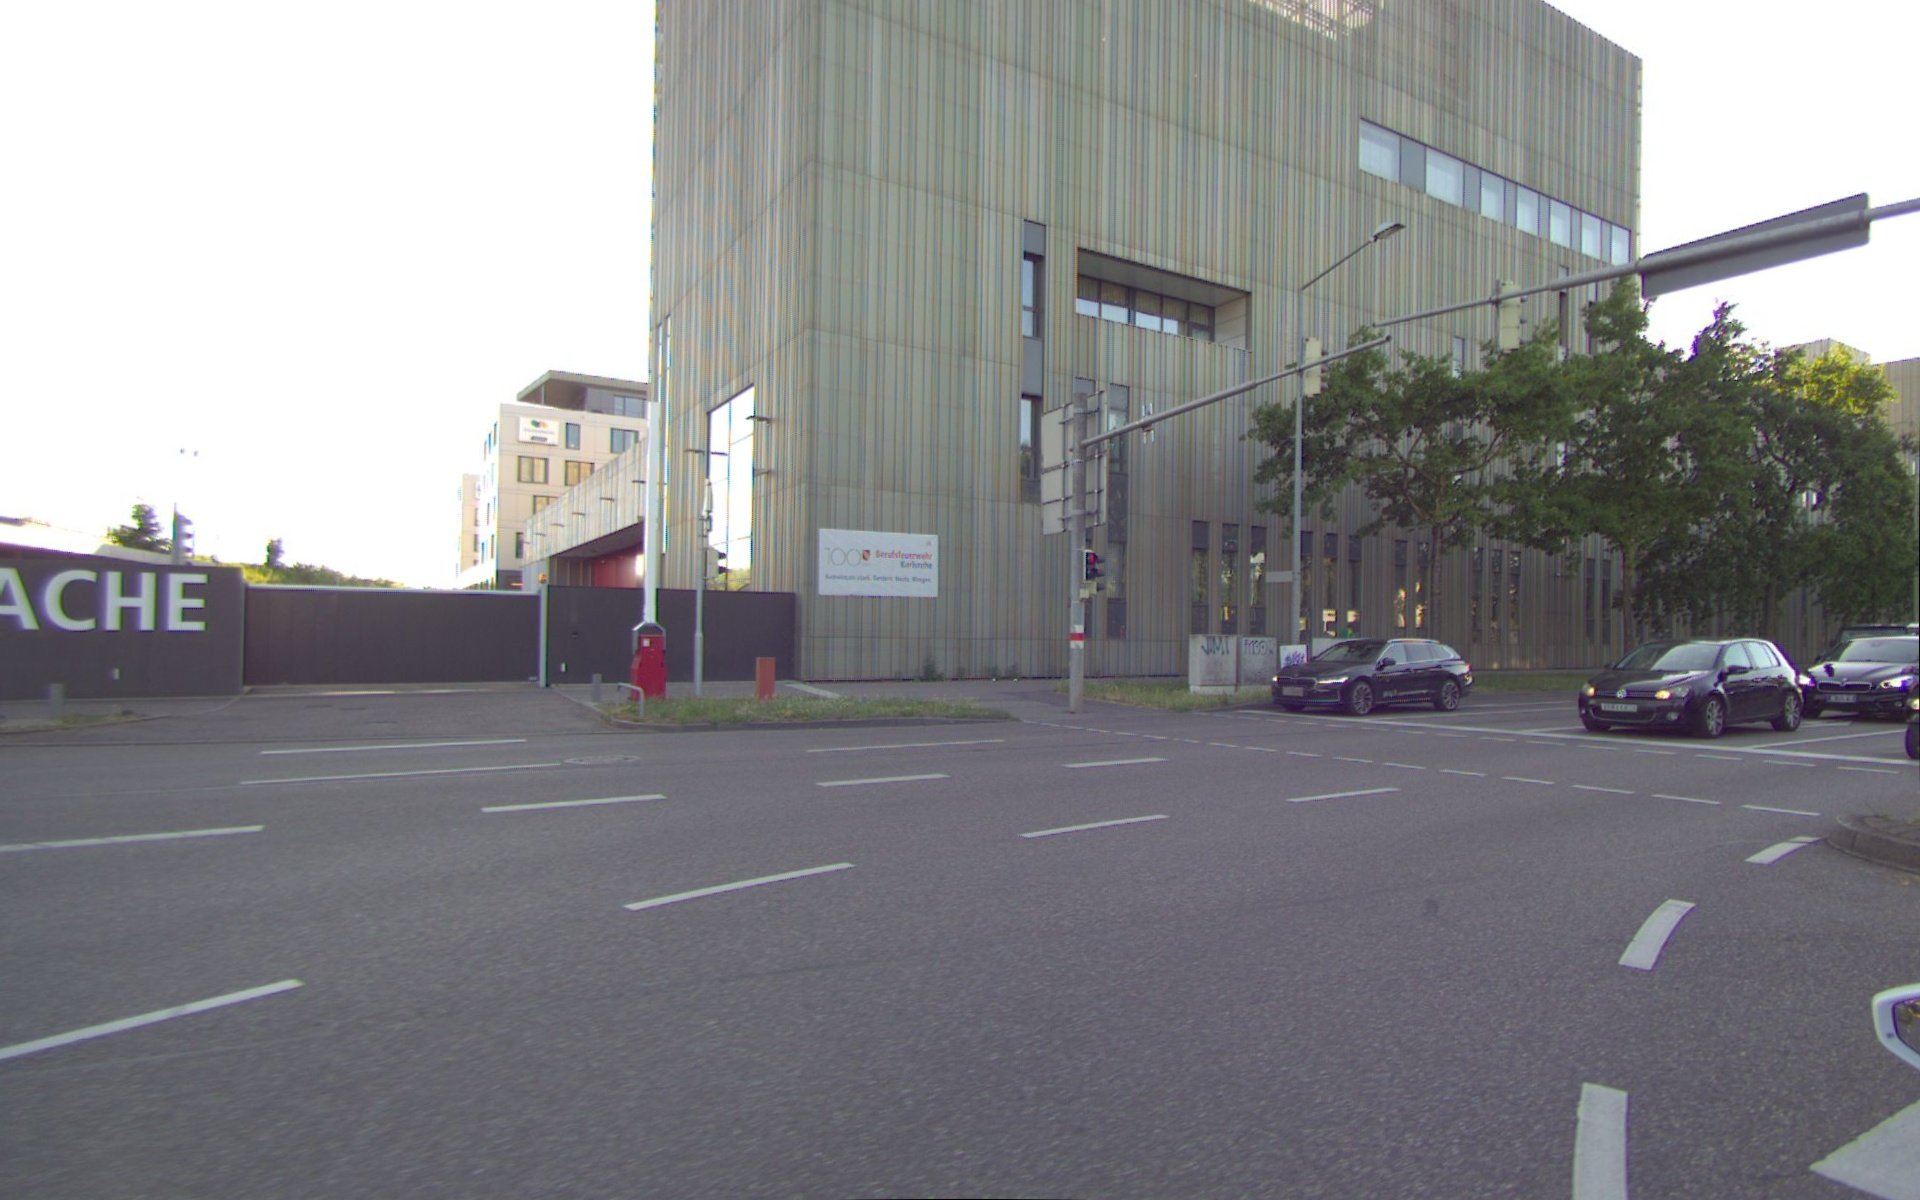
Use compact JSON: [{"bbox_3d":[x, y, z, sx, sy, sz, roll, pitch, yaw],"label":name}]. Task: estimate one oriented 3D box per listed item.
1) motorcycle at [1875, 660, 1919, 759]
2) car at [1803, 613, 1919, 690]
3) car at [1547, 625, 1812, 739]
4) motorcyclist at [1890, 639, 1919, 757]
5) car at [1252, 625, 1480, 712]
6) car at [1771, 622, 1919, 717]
[{"bbox_3d":[11.802,1.275,12.011,2.379,1.090,0.834,2,-3,-37],"label":"motorcycle"},{"bbox_3d":[25.256,1.420,27.766,3.949,2.004,1.785,1,-4,-32],"label":"car"},{"bbox_3d":[11.417,1.243,15.893,4.035,1.495,1.983,3,0,-32],"label":"car"},{"bbox_3d":[11.839,1.157,12.034,1.263,1.367,0.791,0,-2,-37],"label":"motorcyclist"},{"bbox_3d":[8.400,1.435,20.684,4.663,1.612,1.984,3,-5,-32],"label":"car"},{"bbox_3d":[17.568,1.338,19.016,4.663,1.612,1.984,3,-5,-32],"label":"car"}]
